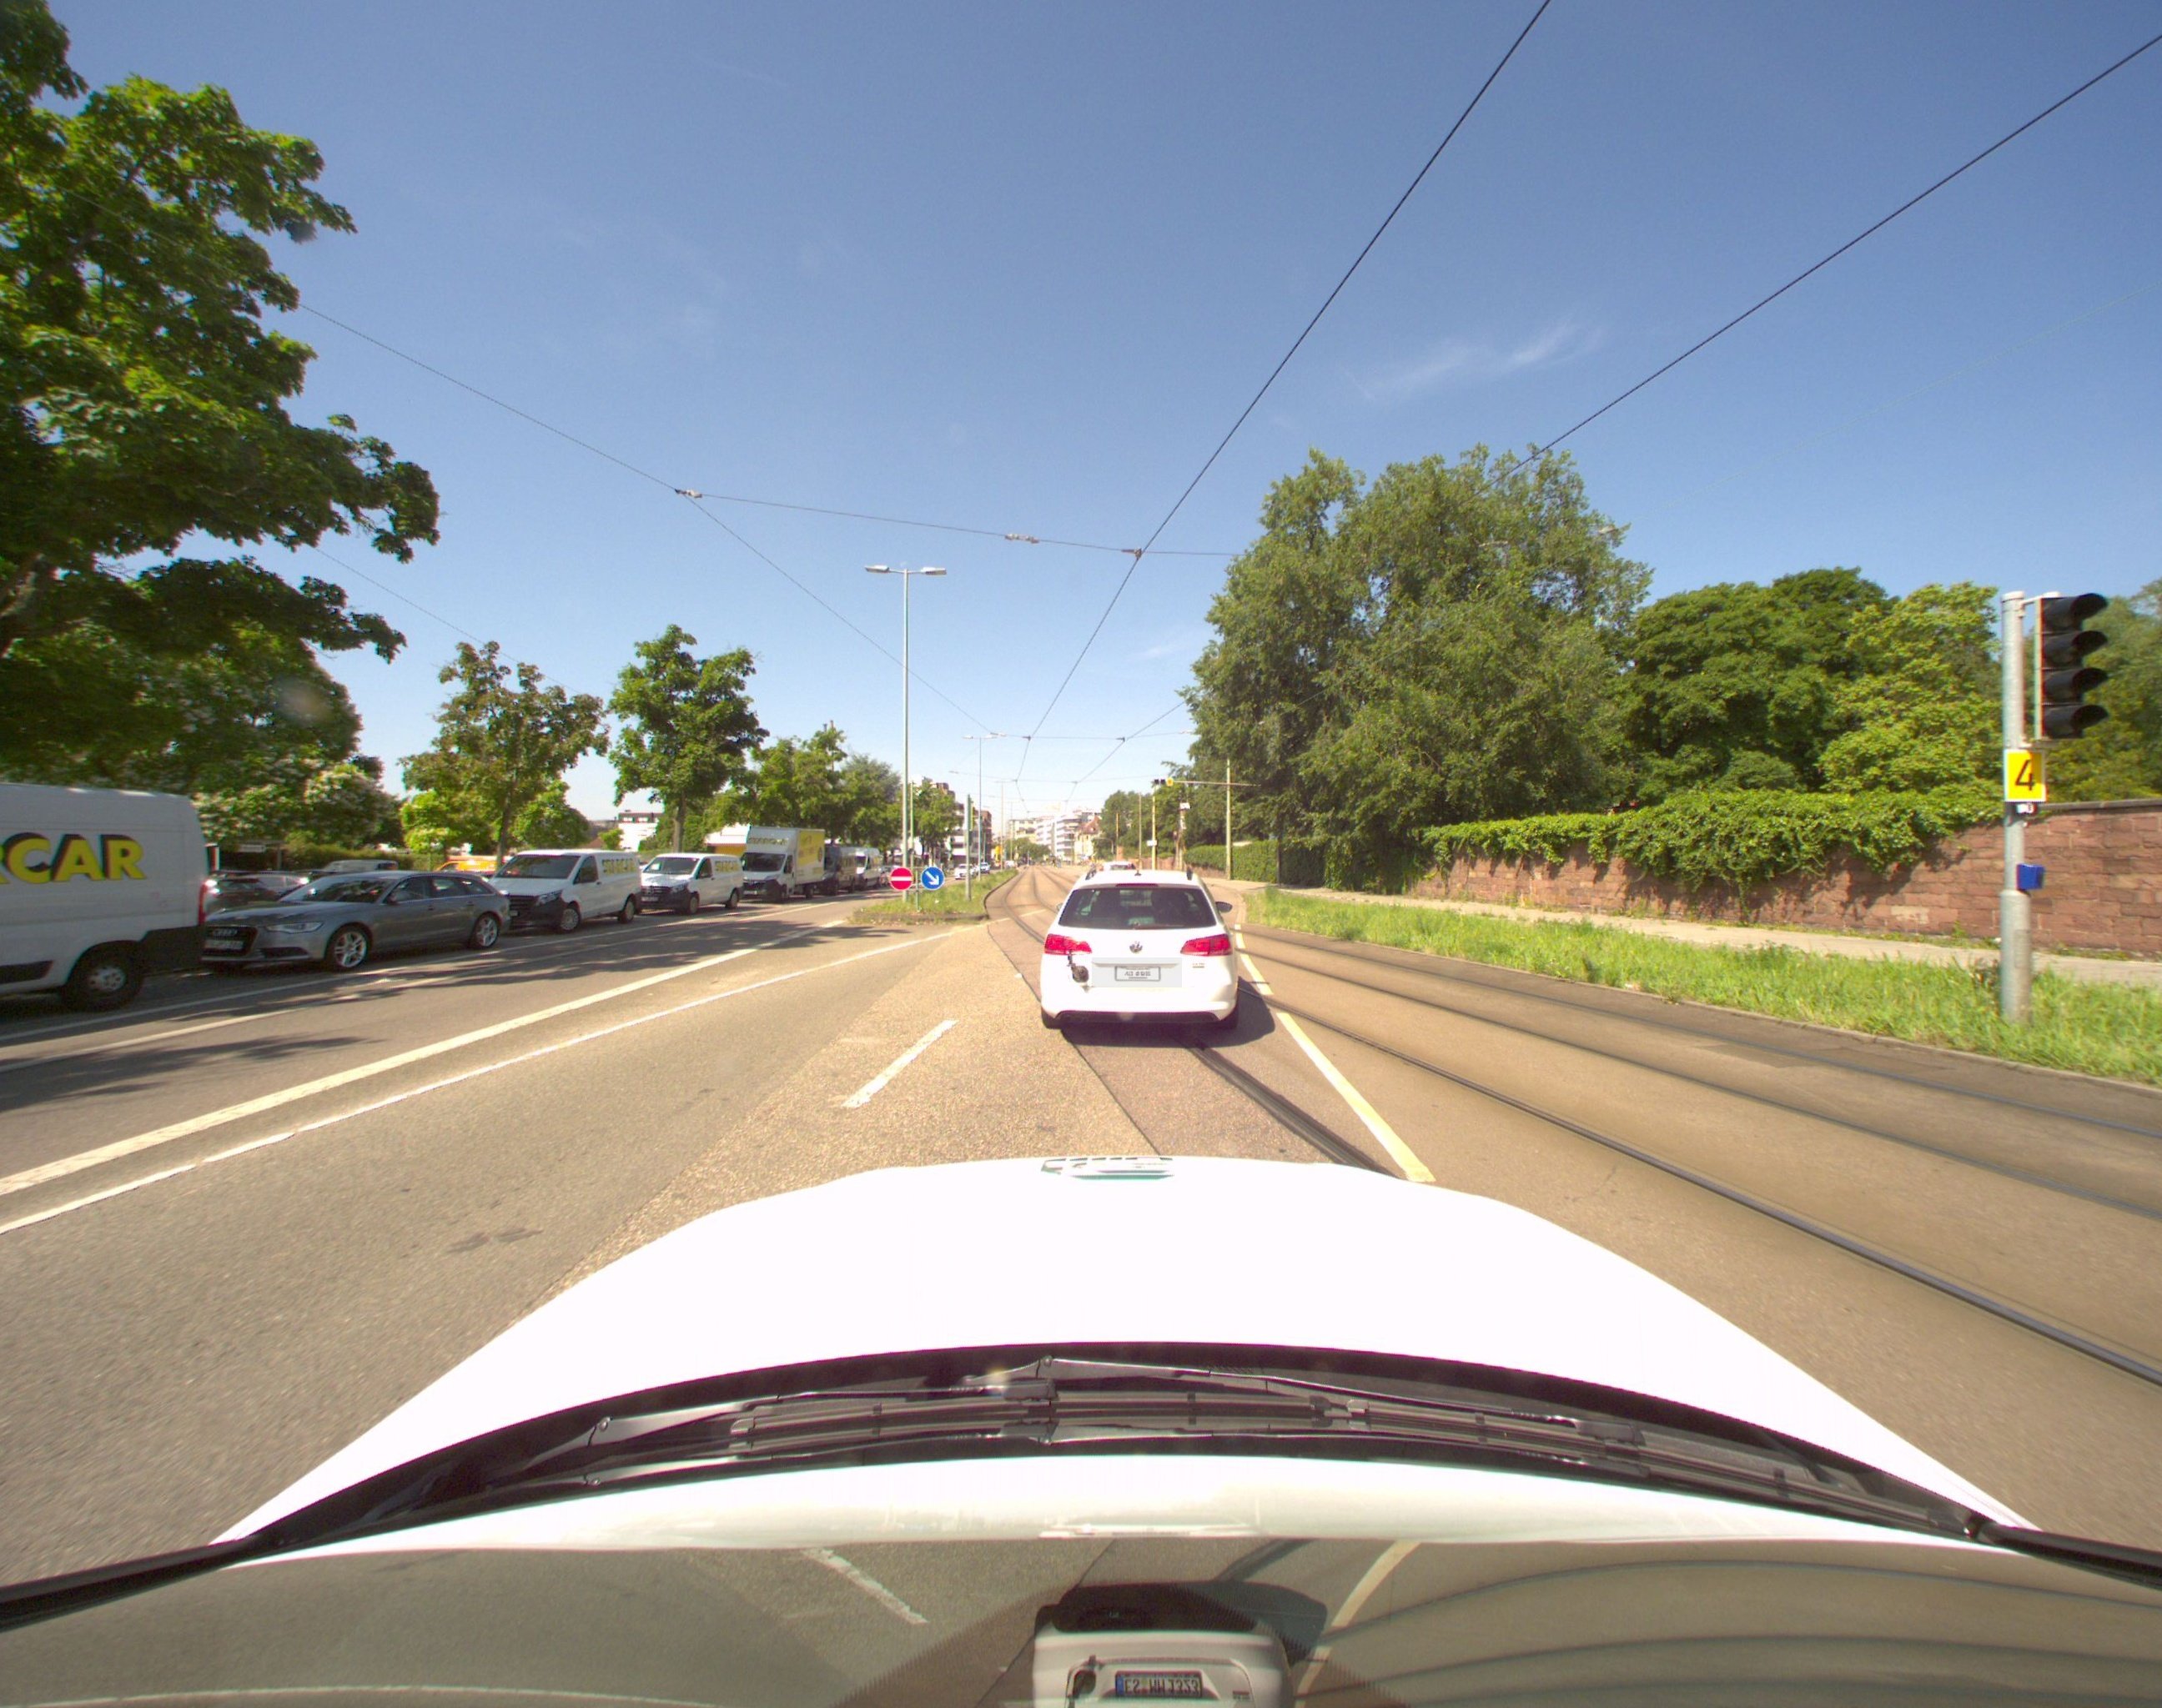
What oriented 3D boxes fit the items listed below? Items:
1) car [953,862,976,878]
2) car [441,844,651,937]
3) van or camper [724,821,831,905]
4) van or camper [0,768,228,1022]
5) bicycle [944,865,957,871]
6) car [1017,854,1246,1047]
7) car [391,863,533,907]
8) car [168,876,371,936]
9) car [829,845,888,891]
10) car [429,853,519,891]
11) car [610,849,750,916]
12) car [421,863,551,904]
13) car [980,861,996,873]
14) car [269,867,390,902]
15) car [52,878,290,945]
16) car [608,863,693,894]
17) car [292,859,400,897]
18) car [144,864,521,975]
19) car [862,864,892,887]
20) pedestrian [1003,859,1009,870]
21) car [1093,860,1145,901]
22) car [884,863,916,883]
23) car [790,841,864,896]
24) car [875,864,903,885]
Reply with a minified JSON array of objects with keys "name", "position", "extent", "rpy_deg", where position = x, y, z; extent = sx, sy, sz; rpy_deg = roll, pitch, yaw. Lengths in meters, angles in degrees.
[{"name":"car","position":[-11.057,1.511,77.323],"extent":[1.787,1.422,4.330],"rpy_deg":[-1,0,-3]},{"name":"car","position":[-12.708,0.792,19.874],"extent":[2.194,1.941,5.171],"rpy_deg":[-1,0,-7]},{"name":"van or camper","position":[-12.855,0.374,35.107],"extent":[2.190,3.241,6.766],"rpy_deg":[1,-1,-2]},{"name":"van or camper","position":[-11.818,0.416,7.161],"extent":[2.251,2.515,6.142],"rpy_deg":[-1,0,-2]},{"name":"bicycle","position":[-20.875,2.295,130.051],"extent":[0.546,0.921,2.191],"rpy_deg":[-1,-1,40]},{"name":"car","position":[0.602,0.765,8.292],"extent":[1.769,1.490,3.853],"rpy_deg":[-1,0,6]},{"name":"car","position":[-23.301,1.153,30.752],"extent":[3.979,1.544,1.661],"rpy_deg":[-1,-1,-4]},{"name":"car","position":[-23.137,1.444,23.349],"extent":[3.979,1.544,1.661],"rpy_deg":[-1,-1,-4]},{"name":"car","position":[-13.553,0.830,50.068],"extent":[2.191,2.631,5.972],"rpy_deg":[1,0,-3]},{"name":"car","position":[-37.255,1.103,50.056],"extent":[3.983,2.200,1.906],"rpy_deg":[-1,-1,-7]},{"name":"car","position":[-12.882,0.859,26.630],"extent":[2.191,1.941,5.179],"rpy_deg":[-1,0,-3]},{"name":"car","position":[-24.124,1.165,33.124],"extent":[3.979,1.544,1.661],"rpy_deg":[-1,-1,-4]},{"name":"car","position":[-12.862,1.813,112.799],"extent":[2.039,1.597,4.654],"rpy_deg":[-1,0,-4]},{"name":"car","position":[-36.186,1.449,39.309],"extent":[3.983,1.544,1.781],"rpy_deg":[-1,-1,-7]},{"name":"car","position":[-23.051,1.423,20.757],"extent":[3.979,1.544,1.661],"rpy_deg":[-1,-1,-4]},{"name":"car","position":[-25.111,1.406,47.605],"extent":[3.981,1.694,1.660],"rpy_deg":[-1,-1,-6]},{"name":"car","position":[-40.334,1.290,44.783],"extent":[3.983,2.003,1.906],"rpy_deg":[-1,-1,-7]},{"name":"car","position":[-11.864,0.911,13.536],"extent":[1.928,1.455,4.879],"rpy_deg":[-1,0,-3]},{"name":"car","position":[-14.003,1.481,56.086],"extent":[1.289,1.490,3.673],"rpy_deg":[1,0,-3]},{"name":"pedestrian","position":[-12.129,1.750,131.467],"extent":[0.826,1.739,0.928],"rpy_deg":[-1,-1,-11]},{"name":"car","position":[1.656,1.080,34.203],"extent":[1.720,1.596,4.020],"rpy_deg":[1,0,8]},{"name":"car","position":[-14.597,1.503,65.838],"extent":[1.600,1.490,4.614],"rpy_deg":[1,0,-2]},{"name":"car","position":[-13.287,0.721,43.012],"extent":[2.191,2.669,6.073],"rpy_deg":[1,0,-3]},{"name":"car","position":[-14.258,1.504,60.622],"extent":[1.289,1.490,4.345],"rpy_deg":[1,0,-3]}]
